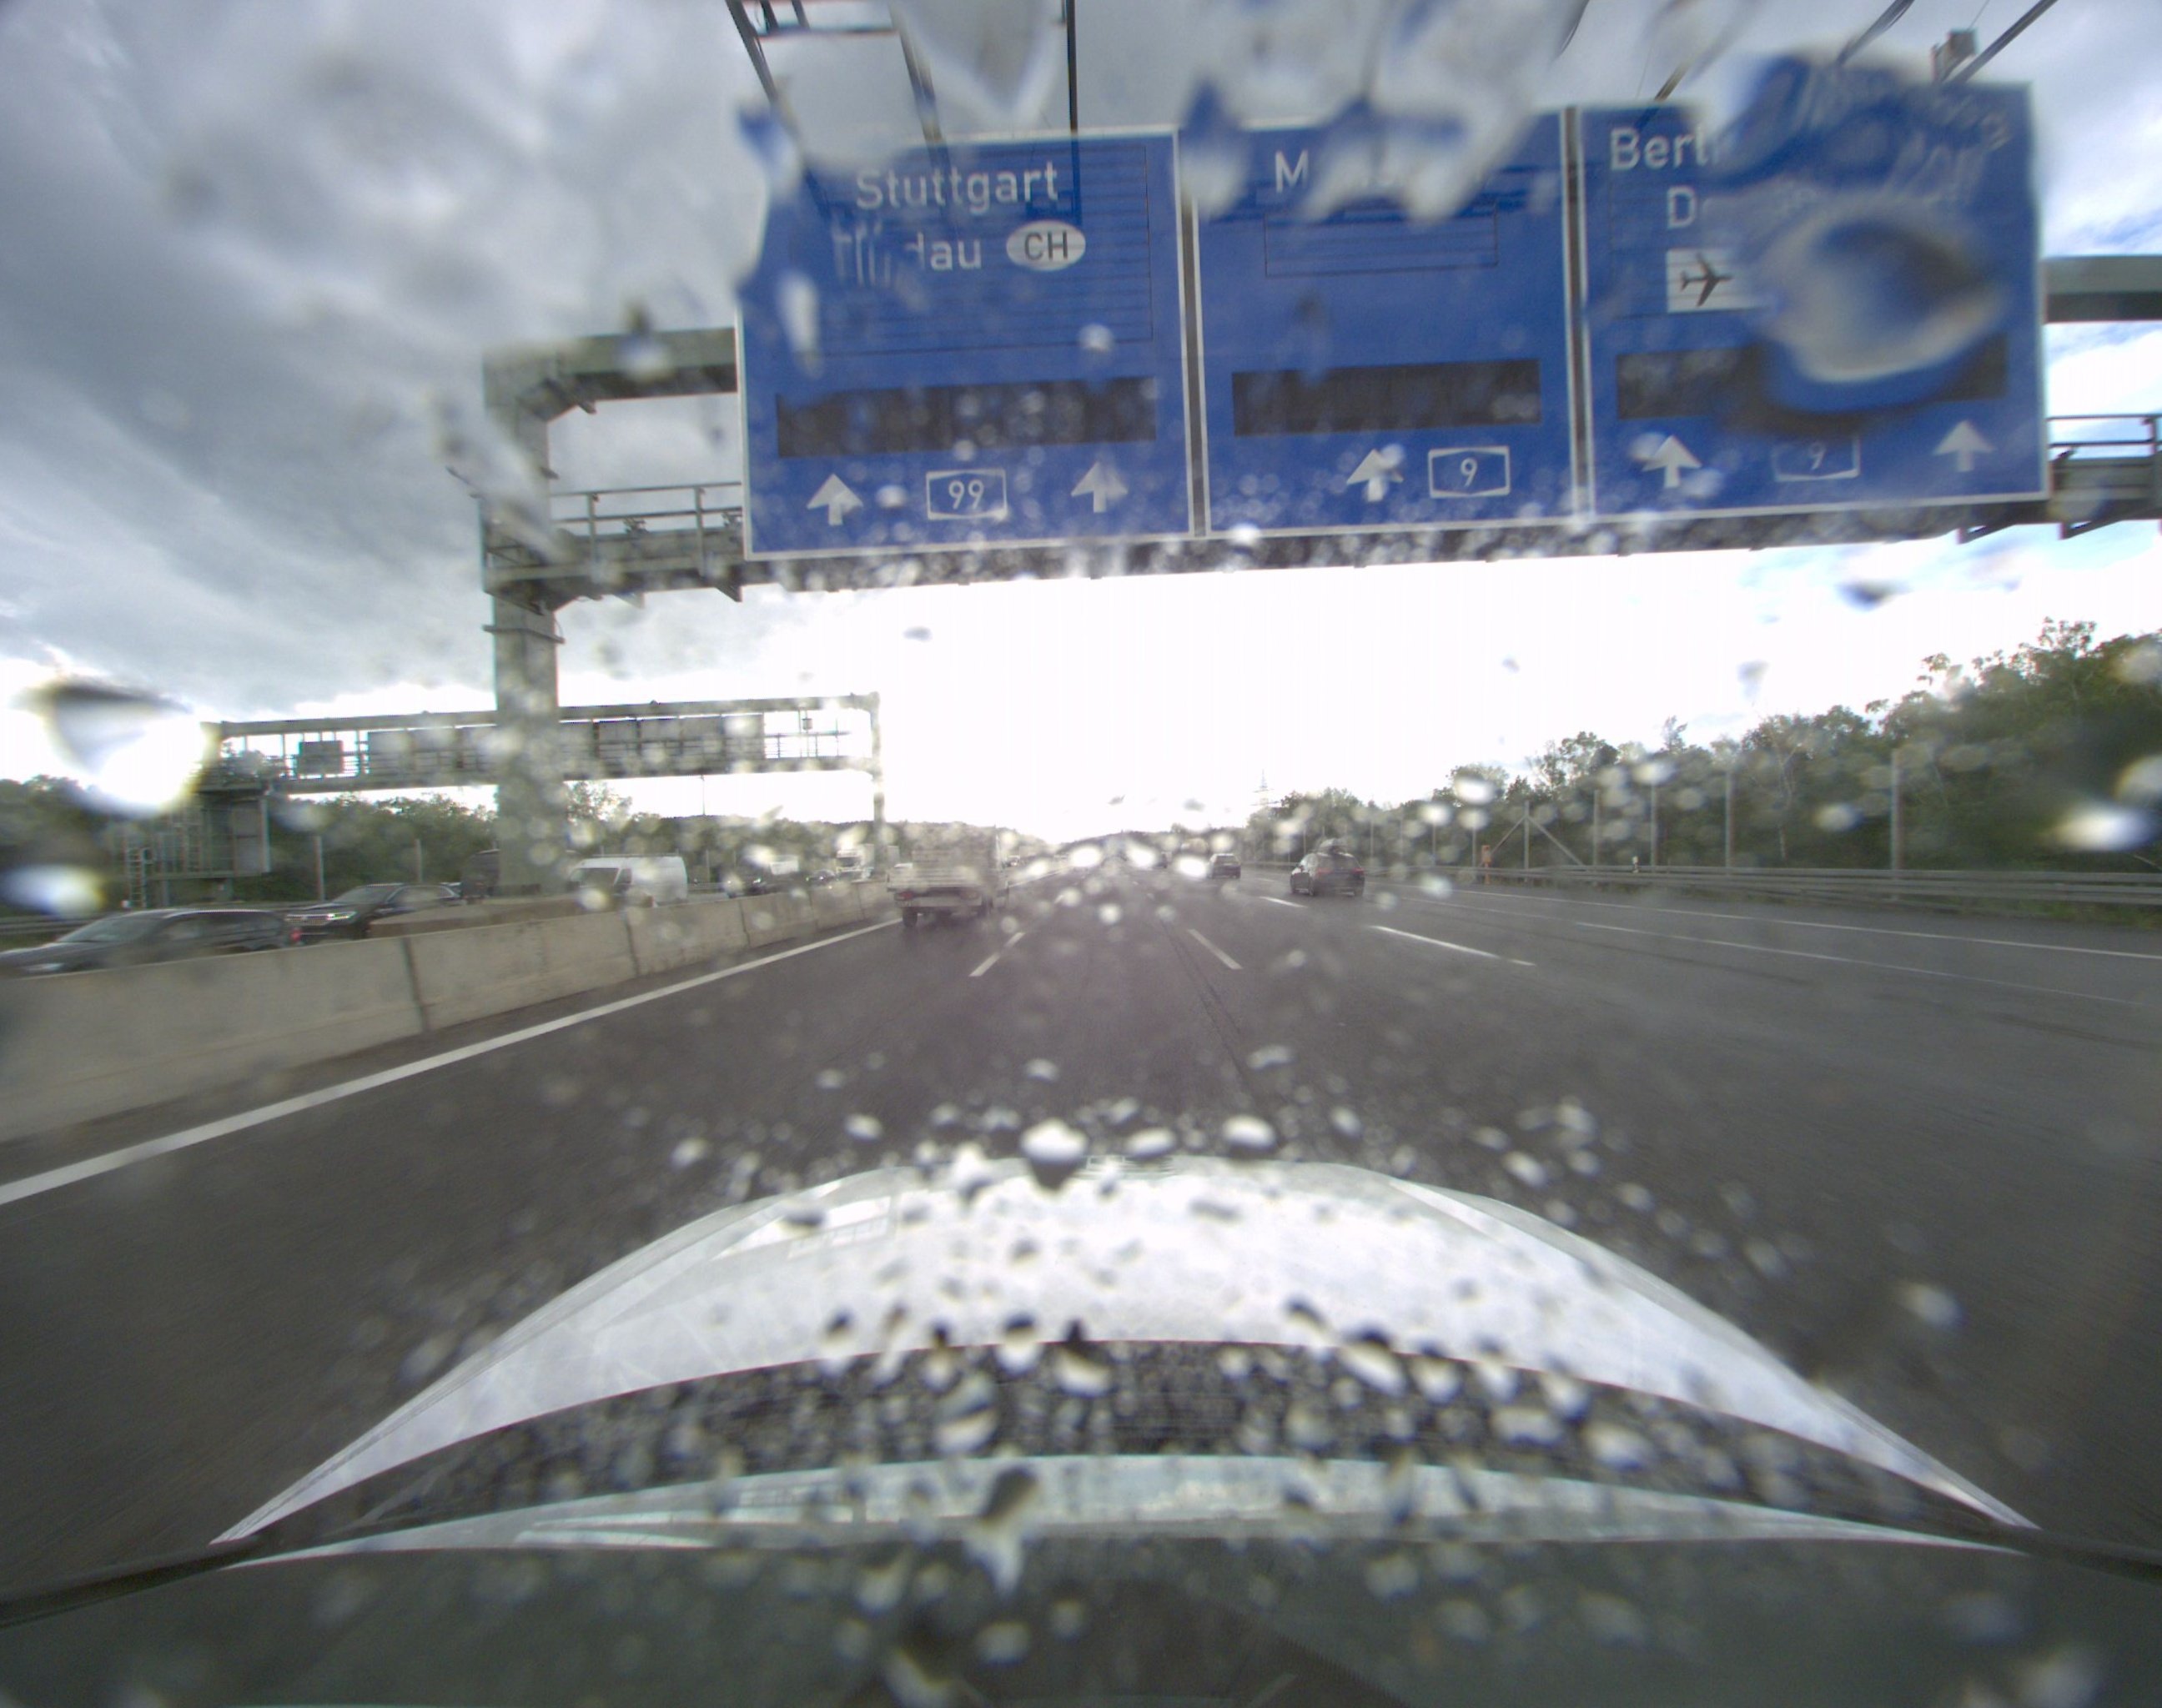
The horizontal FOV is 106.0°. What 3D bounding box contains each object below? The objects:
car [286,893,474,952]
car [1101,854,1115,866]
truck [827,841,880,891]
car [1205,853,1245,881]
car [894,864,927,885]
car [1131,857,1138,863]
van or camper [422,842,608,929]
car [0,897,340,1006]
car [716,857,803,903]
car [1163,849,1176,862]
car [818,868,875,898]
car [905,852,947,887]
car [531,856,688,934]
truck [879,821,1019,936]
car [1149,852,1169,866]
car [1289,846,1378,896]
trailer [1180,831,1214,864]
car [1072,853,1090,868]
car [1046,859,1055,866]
[{"bbox_3d":[-20.620,1.966,24.262,1.698,1.261,4.502,-2,0,0],"label":"car"},{"bbox_3d":[4.043,0.923,121.074,2.037,1.699,4.003,-1,0,2],"label":"car"},{"bbox_3d":[-23.702,1.177,85.471,3.136,4.856,8.027,-1,0,0],"label":"truck"},{"bbox_3d":[9.523,0.806,54.276,2.036,1.699,5.011,-1,0,3],"label":"car"},{"bbox_3d":[-15.209,1.797,72.889,1.706,1.667,4.798,-1,0,2],"label":"car"},{"bbox_3d":[15.906,1.711,243.119,2.037,1.699,4.003,-1,0,3],"label":"car"},{"bbox_3d":[-21.020,1.032,30.756,2.575,2.847,6.212,-2,0,0],"label":"van or camper"},{"bbox_3d":[-17.099,1.665,15.167,1.792,1.357,5.130,-2,0,1],"label":"car"},{"bbox_3d":[-19.757,1.500,50.531,2.263,2.546,7.359,-2,0,1],"label":"car"},{"bbox_3d":[17.433,0.224,160.673,2.037,2.498,4.002,-1,0,2],"label":"car"},{"bbox_3d":[-12.782,1.570,44.703,1.752,1.438,4.394,-1,0,1],"label":"car"},{"bbox_3d":[-15.512,1.443,81.904,2.488,3.300,7.630,-1,0,2],"label":"car"},{"bbox_3d":[-17.449,1.387,30.633,2.195,2.488,6.066,-2,0,1],"label":"car"},{"bbox_3d":[-3.083,0.500,20.983,2.345,2.408,7.358,-1,0,0],"label":"truck"},{"bbox_3d":[10.336,0.646,107.832,2.092,1.699,3.998,-1,0,-2],"label":"car"},{"bbox_3d":[9.104,0.590,29.824,2.095,1.606,5.073,-1,-1,5],"label":"car"},{"bbox_3d":[15.729,-0.873,111.338,3.320,4.175,11.843,-1,0,2],"label":"trailer"},{"bbox_3d":[0.018,0.791,101.639,2.037,1.699,4.002,-1,0,2],"label":"car"},{"bbox_3d":[-7.314,2.062,195.281,1.887,1.624,4.847,-1,0,2],"label":"car"}]
